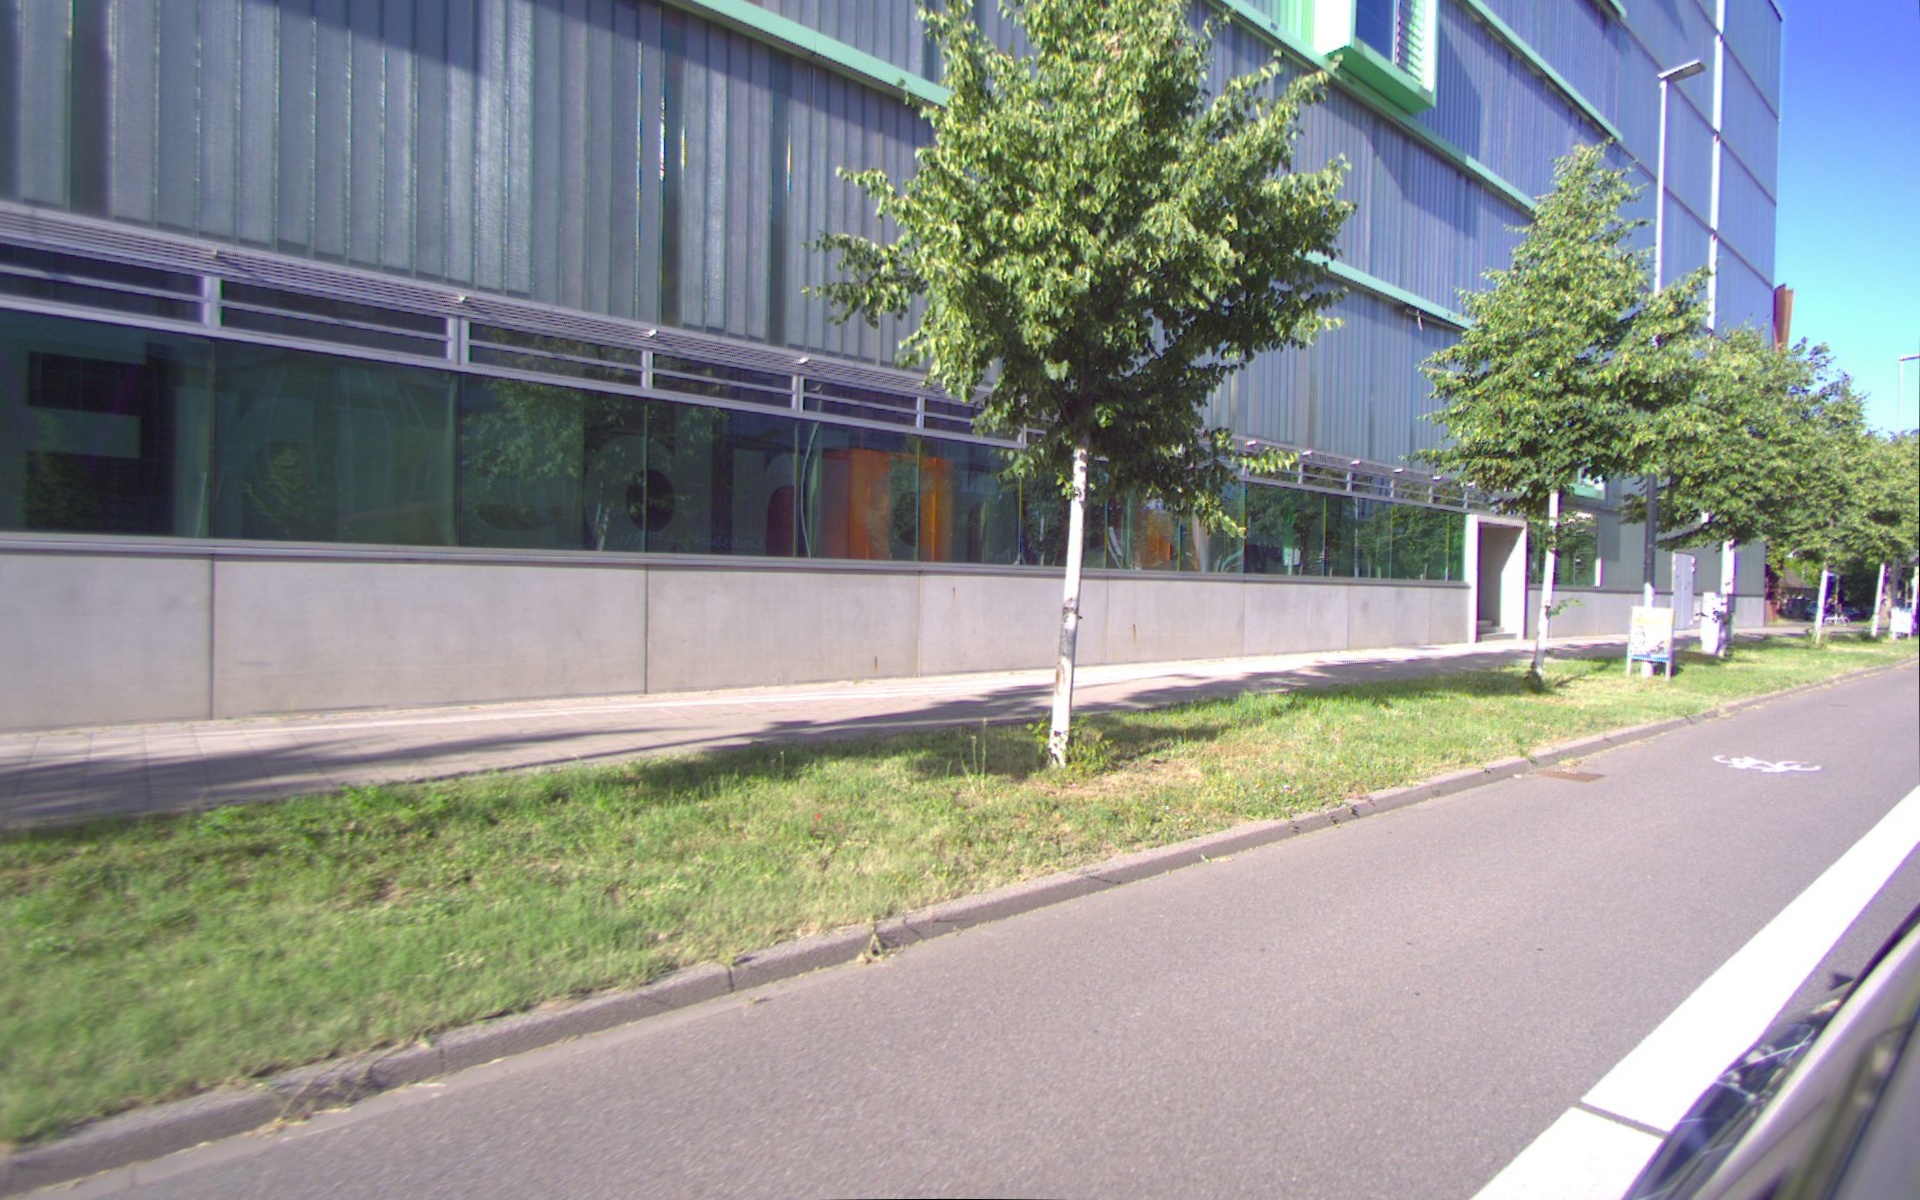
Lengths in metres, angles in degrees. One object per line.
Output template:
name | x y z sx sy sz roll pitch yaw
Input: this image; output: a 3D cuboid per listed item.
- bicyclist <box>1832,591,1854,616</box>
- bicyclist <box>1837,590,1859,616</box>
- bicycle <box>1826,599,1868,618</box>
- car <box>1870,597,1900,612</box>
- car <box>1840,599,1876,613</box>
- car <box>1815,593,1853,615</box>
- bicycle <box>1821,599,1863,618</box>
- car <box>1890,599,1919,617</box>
bicyclist | 60.607 0.268 69.494 0.777 1.674 0.878 1 1 -28
bicyclist | 61.397 0.225 69.951 0.815 1.759 0.878 1 1 -28
bicycle | 61.372 0.589 70.033 0.540 1.218 2.107 1 1 -28
car | 107.452 0.524 117.564 4.573 1.548 1.998 0 3 -41
car | 96.776 0.654 109.028 4.820 1.504 1.900 0 0 -35
car | 89.156 0.389 103.197 4.977 2.062 1.899 0 2 -38
bicycle | 60.599 0.585 69.529 0.540 1.218 2.108 2 1 -25
car | 82.387 0.667 87.772 3.962 1.484 1.899 0 0 -37
